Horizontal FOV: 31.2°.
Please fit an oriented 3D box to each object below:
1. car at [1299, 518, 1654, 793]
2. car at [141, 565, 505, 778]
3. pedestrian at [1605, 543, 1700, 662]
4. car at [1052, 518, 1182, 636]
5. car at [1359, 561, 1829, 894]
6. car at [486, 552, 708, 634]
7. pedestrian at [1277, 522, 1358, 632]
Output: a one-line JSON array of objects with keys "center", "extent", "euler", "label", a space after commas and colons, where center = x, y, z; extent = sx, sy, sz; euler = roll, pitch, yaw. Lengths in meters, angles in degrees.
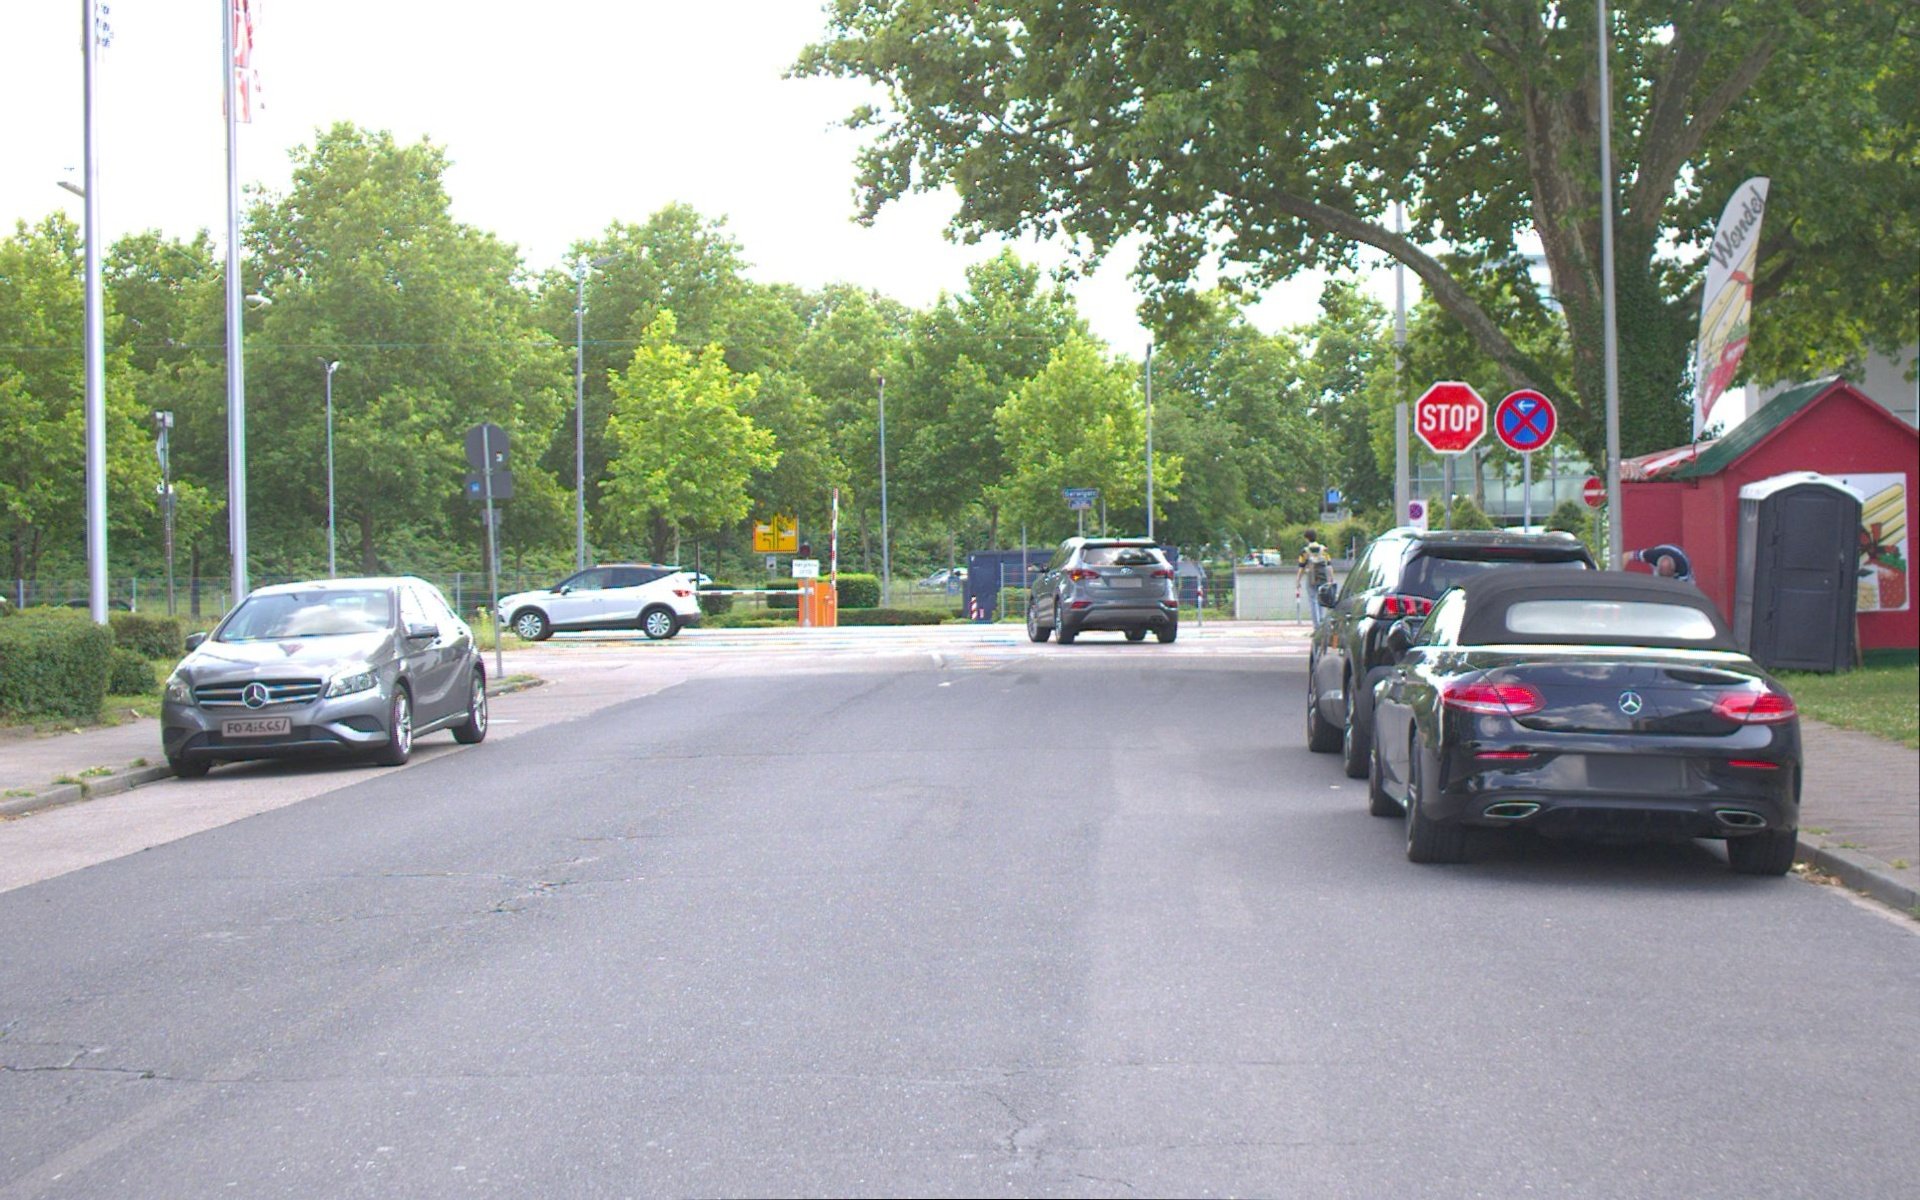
[{"center": [3.443, 0.297, 23.726], "extent": [1.808, 1.659, 4.640], "euler": [2, 1, 1], "label": "car"}, {"center": [-4.914, 0.500, 27.120], "extent": [1.710, 1.415, 4.330], "euler": [-3, 1, 4], "label": "car"}, {"center": [7.696, 0.024, 38.241], "extent": [1.014, 1.309, 0.964], "euler": [0, 0, 11], "label": "pedestrian"}, {"center": [2.502, -0.403, 55.635], "extent": [1.962, 1.809, 4.275], "euler": [-1, 1, 1], "label": "car"}, {"center": [3.077, 0.537, 17.562], "extent": [1.808, 1.386, 4.587], "euler": [2, 1, 4], "label": "car"}, {"center": [-7.280, -0.151, 69.242], "extent": [4.220, 1.574, 1.924], "euler": [-1, 1, 1], "label": "car"}, {"center": [6.081, -0.389, 58.544], "extent": [1.000, 1.843, 1.230], "euler": [-1, 0, -15], "label": "pedestrian"}]
